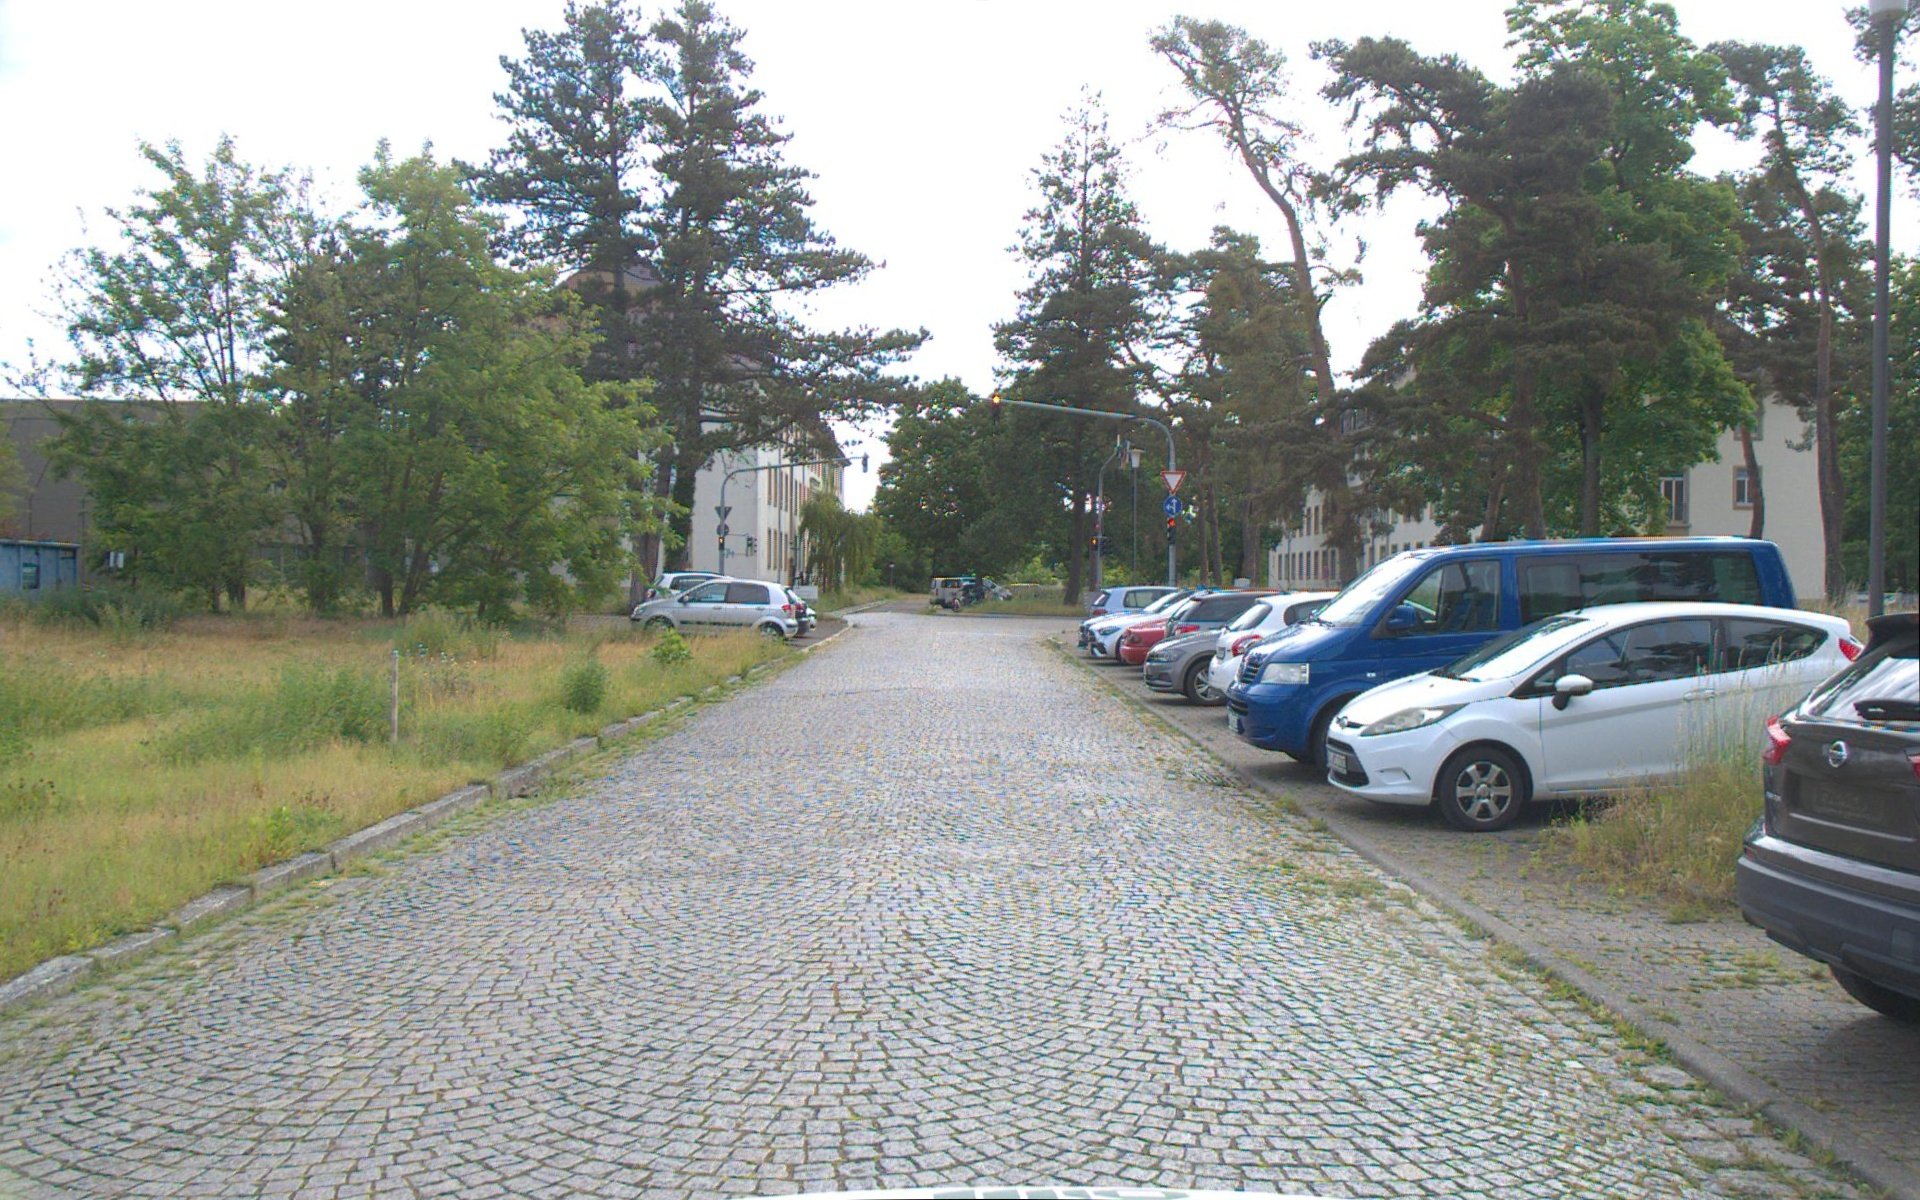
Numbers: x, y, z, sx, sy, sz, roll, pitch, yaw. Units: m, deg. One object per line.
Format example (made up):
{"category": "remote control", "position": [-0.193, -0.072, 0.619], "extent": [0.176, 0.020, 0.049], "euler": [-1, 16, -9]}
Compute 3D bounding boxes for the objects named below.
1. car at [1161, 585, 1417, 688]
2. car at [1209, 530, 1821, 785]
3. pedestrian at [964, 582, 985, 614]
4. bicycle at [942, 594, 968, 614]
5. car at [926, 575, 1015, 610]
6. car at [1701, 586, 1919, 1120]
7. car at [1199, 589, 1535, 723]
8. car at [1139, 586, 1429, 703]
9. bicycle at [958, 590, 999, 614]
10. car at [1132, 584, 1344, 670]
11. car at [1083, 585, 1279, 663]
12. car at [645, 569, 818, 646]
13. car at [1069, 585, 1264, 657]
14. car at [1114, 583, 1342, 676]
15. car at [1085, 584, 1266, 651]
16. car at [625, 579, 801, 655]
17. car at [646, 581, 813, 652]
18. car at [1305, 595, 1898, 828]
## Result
{"category": "car", "position": [5.002, 0.538, 25.438], "extent": [3.598, 1.475, 1.523], "euler": [-1, 0, -2]}
{"category": "car", "position": [4.673, 0.452, 14.389], "extent": [4.659, 1.989, 1.930], "euler": [-1, 0, -2]}
{"category": "pedestrian", "position": [0.784, -0.120, 87.415], "extent": [1.013, 1.642, 0.757], "euler": [1, 0, -5]}
{"category": "bicycle", "position": [-0.273, 0.203, 82.994], "extent": [0.613, 0.961, 1.648], "euler": [1, 0, -28]}
{"category": "car", "position": [0.634, -0.487, 104.980], "extent": [5.346, 2.049, 2.264], "euler": [1, 0, -10]}
{"category": "car", "position": [4.790, 0.721, 5.422], "extent": [3.948, 1.579, 1.750], "euler": [-1, 0, -3]}
{"category": "car", "position": [4.770, 0.636, 19.669], "extent": [3.598, 1.475, 1.523], "euler": [-1, 0, -2]}
{"category": "car", "position": [4.336, 0.575, 22.444], "extent": [3.598, 1.475, 1.523], "euler": [-1, 0, -2]}
{"category": "bicycle", "position": [0.979, 0.095, 87.075], "extent": [2.095, 1.236, 0.621], "euler": [1, 0, -5]}
{"category": "car", "position": [5.075, 0.477, 30.430], "extent": [3.598, 1.475, 1.523], "euler": [-1, 0, -2]}
{"category": "car", "position": [4.332, 0.450, 32.675], "extent": [3.600, 1.446, 1.522], "euler": [-1, 0, -5]}
{"category": "car", "position": [-5.813, 0.190, 42.414], "extent": [4.176, 1.872, 1.743], "euler": [-1, 0, -1]}
{"category": "car", "position": [4.396, 0.431, 35.531], "extent": [3.890, 1.446, 1.618], "euler": [-1, 0, -5]}
{"category": "car", "position": [4.513, 0.488, 28.140], "extent": [3.598, 1.475, 1.523], "euler": [-1, 0, -2]}
{"category": "car", "position": [4.937, 0.393, 38.187], "extent": [3.890, 1.446, 1.618], "euler": [-1, 0, -5]}
{"category": "car", "position": [-5.475, 0.365, 37.014], "extent": [3.746, 1.600, 1.563], "euler": [-1, 0, -4]}
{"category": "car", "position": [-5.451, 0.383, 39.431], "extent": [3.744, 1.600, 1.564], "euler": [-1, 0, -1]}
{"category": "car", "position": [4.449, 0.730, 11.795], "extent": [3.598, 1.475, 1.614], "euler": [-1, 0, -3]}
